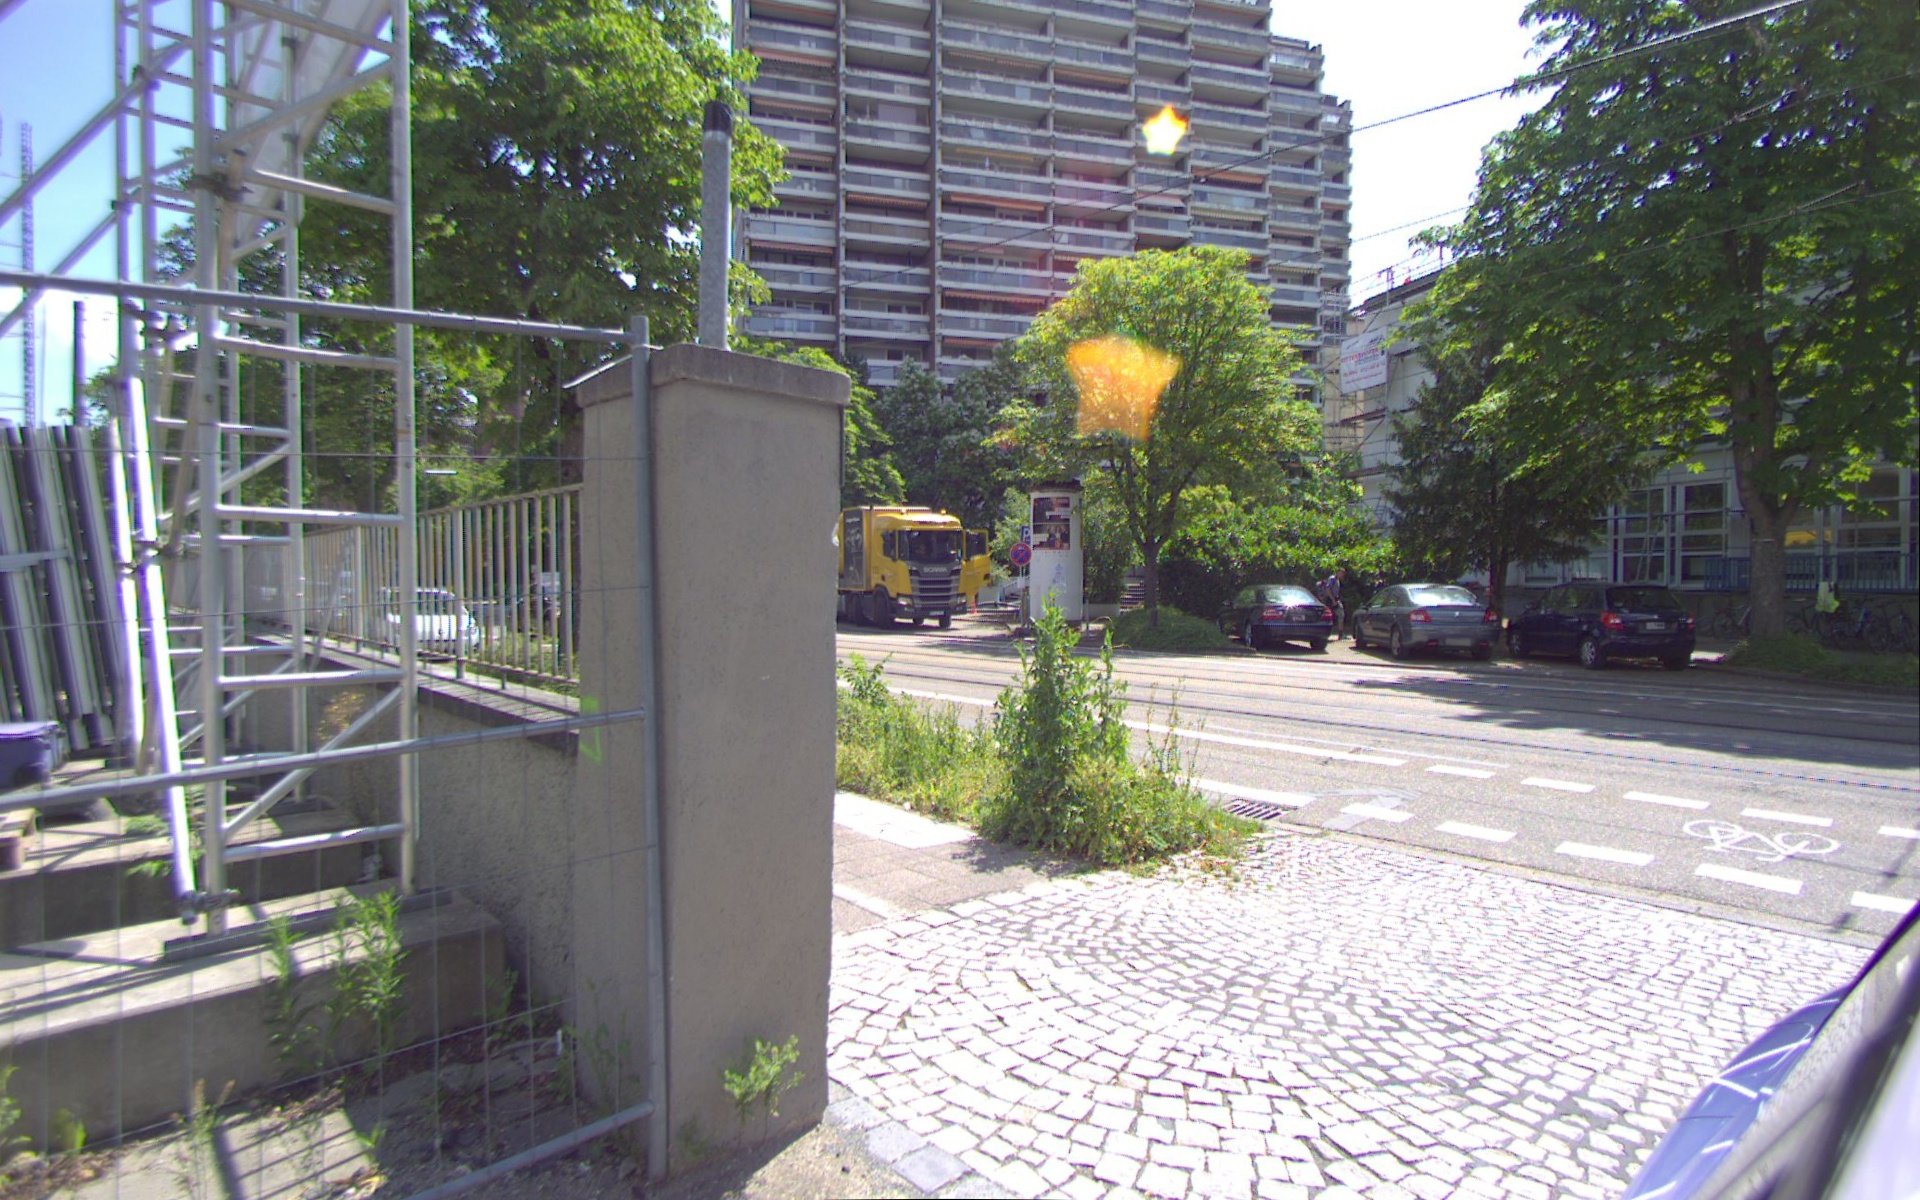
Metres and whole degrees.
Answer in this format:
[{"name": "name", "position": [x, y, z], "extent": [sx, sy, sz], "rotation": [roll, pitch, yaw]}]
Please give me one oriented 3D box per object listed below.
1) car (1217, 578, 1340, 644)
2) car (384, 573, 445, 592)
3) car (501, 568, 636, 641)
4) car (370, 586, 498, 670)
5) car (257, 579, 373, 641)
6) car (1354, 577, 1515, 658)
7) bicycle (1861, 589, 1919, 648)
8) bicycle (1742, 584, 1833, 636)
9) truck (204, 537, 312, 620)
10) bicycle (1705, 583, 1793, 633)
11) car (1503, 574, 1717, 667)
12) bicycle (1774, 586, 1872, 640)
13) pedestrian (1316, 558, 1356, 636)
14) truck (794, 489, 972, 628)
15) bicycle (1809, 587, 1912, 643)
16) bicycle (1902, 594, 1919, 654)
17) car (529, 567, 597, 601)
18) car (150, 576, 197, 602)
[{"name": "car", "position": [7.203, 0.200, 23.279], "extent": [1.599, 1.390, 4.022], "rotation": [0, 1, 1]}, {"name": "car", "position": [-44.040, -1.435, 81.767], "extent": [1.980, 1.504, 3.964], "rotation": [1, 1, 26]}, {"name": "car", "position": [-10.151, 0.064, 26.112], "extent": [1.966, 1.710, 3.993], "rotation": [0, 1, -42]}, {"name": "car", "position": [-10.332, 0.469, 19.767], "extent": [1.593, 1.458, 3.581], "rotation": [0, 1, -38]}, {"name": "car", "position": [-18.446, 0.233, 28.869], "extent": [3.988, 1.627, 1.968], "rotation": [1, 1, 45]}, {"name": "car", "position": [9.526, 0.283, 20.680], "extent": [1.789, 1.481, 4.015], "rotation": [0, 1, 7]}, {"name": "bicycle", "position": [19.231, 0.368, 20.389], "extent": [1.903, 1.144, 0.569], "rotation": [0, 0, -11]}, {"name": "bicycle", "position": [18.678, 0.229, 22.841], "extent": [1.887, 1.144, 0.570], "rotation": [0, 0, -14]}, {"name": "truck", "position": [-23.449, -0.708, 33.699], "extent": [1.994, 2.516, 5.856], "rotation": [0, 1, -45]}, {"name": "bicycle", "position": [18.377, 0.188, 23.565], "extent": [1.887, 1.144, 0.570], "rotation": [0, 0, -14]}, {"name": "car", "position": [11.656, 0.305, 18.435], "extent": [1.619, 1.535, 3.575], "rotation": [0, 1, 1]}, {"name": "bicycle", "position": [18.826, 0.286, 22.082], "extent": [1.888, 1.144, 0.569], "rotation": [0, 0, -11]}, {"name": "pedestrian", "position": [9.277, -0.083, 24.971], "extent": [0.701, 1.898, 0.578], "rotation": [0, 0, -29]}, {"name": "truck", "position": [-2.969, -1.323, 34.655], "extent": [2.694, 4.056, 9.762], "rotation": [-1, 1, -26]}, {"name": "bicycle", "position": [18.996, 0.314, 21.351], "extent": [1.903, 1.144, 0.569], "rotation": [0, 0, -11]}, {"name": "bicycle", "position": [19.347, 0.468, 19.605], "extent": [1.903, 1.144, 0.569], "rotation": [0, 1, -11]}, {"name": "car", "position": [-22.529, -0.913, 57.564], "extent": [1.805, 1.816, 3.989], "rotation": [1, 1, 10]}, {"name": "car", "position": [-47.729, -0.671, 61.358], "extent": [1.966, 1.504, 4.330], "rotation": [0, 1, -42]}]
